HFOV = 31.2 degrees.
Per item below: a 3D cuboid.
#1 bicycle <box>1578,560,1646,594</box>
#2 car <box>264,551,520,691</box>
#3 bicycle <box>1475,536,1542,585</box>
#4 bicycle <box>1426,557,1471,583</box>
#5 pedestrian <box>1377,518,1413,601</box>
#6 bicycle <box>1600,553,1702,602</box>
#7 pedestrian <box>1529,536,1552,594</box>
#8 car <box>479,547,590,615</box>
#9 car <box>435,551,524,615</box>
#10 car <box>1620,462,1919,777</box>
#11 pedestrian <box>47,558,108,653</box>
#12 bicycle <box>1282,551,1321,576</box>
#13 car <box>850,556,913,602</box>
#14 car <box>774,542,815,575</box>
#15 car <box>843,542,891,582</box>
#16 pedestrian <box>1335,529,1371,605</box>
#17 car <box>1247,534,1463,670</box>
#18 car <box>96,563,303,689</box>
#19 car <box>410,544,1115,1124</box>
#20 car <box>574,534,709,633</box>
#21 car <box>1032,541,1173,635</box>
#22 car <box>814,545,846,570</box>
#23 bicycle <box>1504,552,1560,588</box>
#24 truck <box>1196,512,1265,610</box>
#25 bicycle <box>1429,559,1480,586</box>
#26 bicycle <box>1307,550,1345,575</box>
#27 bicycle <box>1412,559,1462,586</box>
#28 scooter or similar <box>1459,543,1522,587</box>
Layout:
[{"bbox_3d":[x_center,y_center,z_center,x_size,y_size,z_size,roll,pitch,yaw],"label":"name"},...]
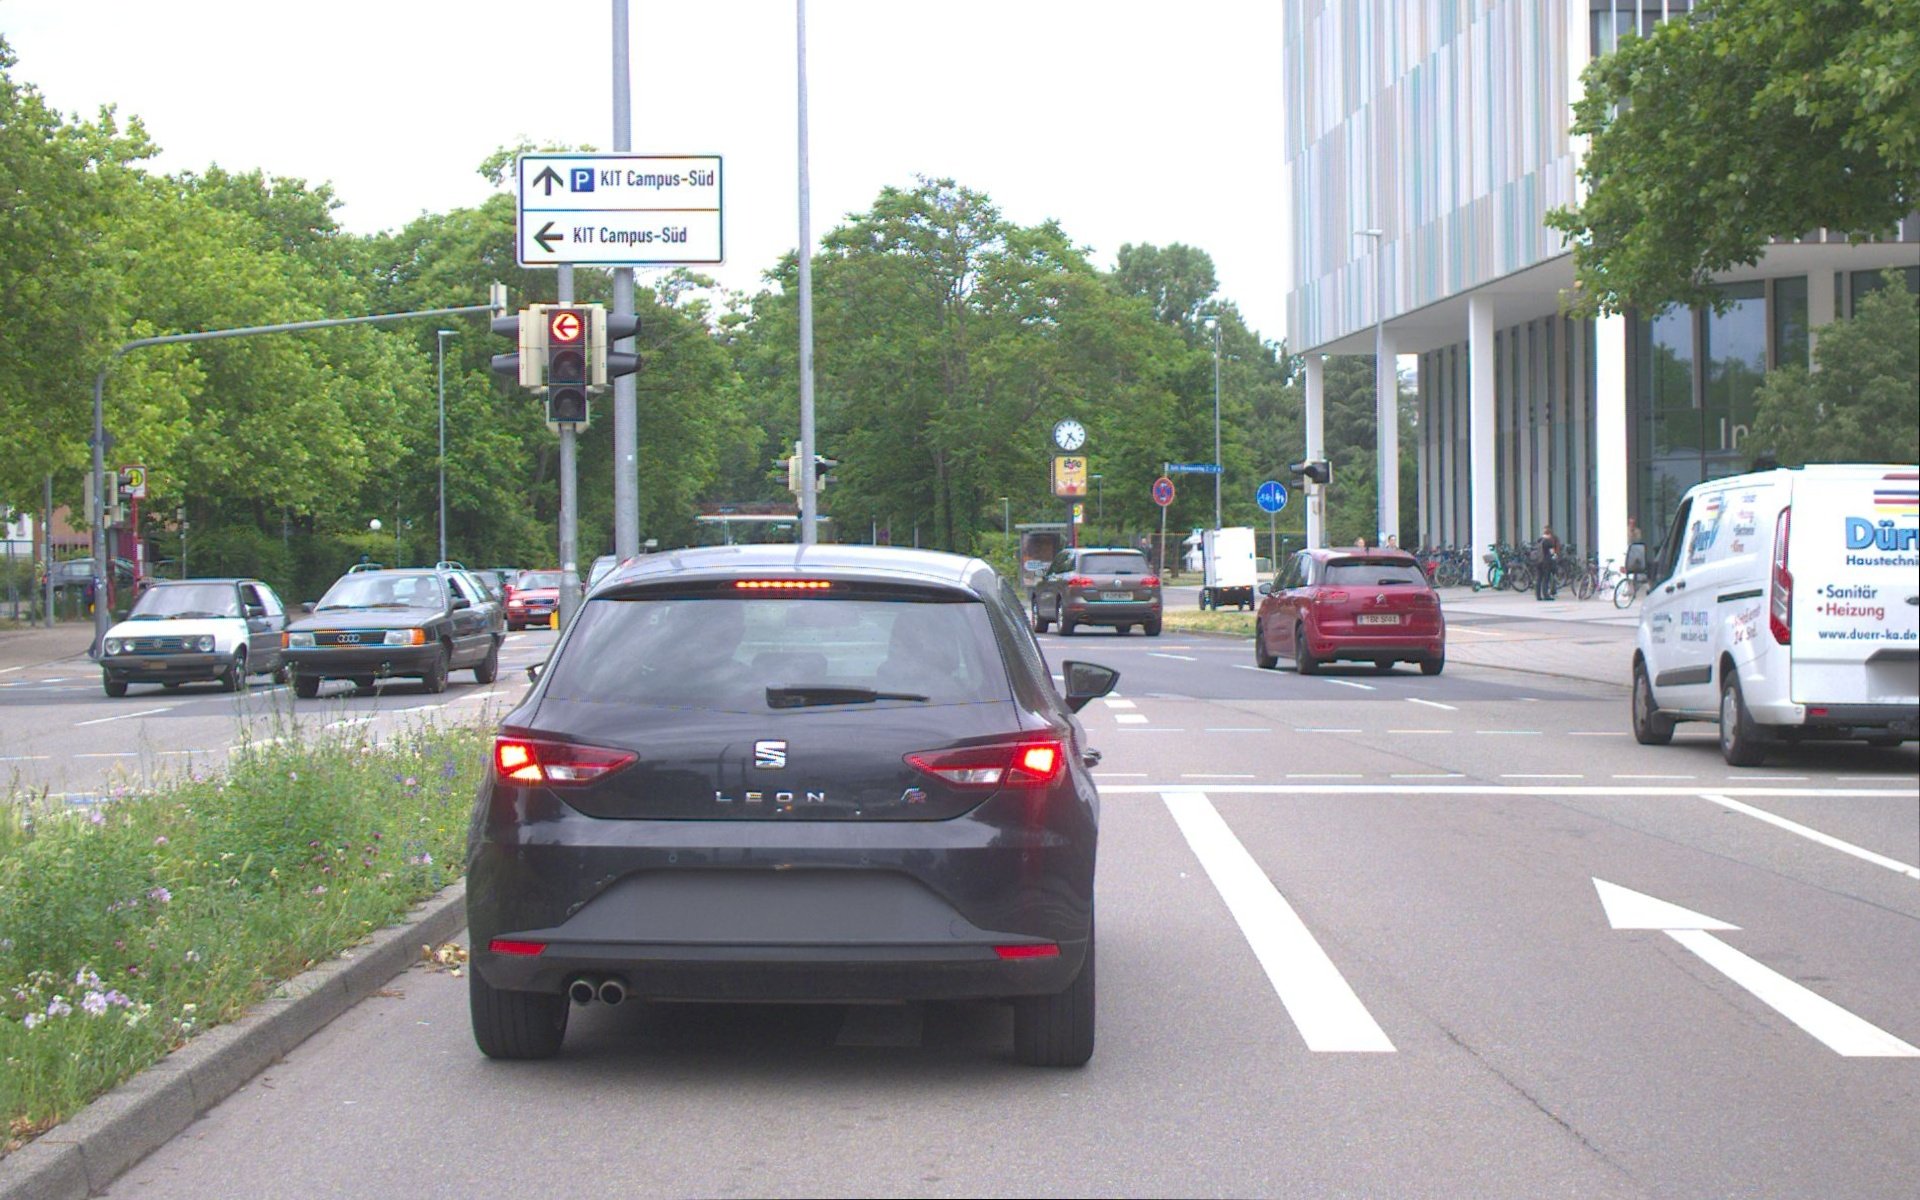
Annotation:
[{"bbox_3d":[15.568,-0.548,82.089,1.479,0.746,0.566,-2,1,-2],"label":"bicycle"},{"bbox_3d":[-6.508,0.212,39.907,1.764,1.455,4.791,-3,0,5],"label":"car"},{"bbox_3d":[14.398,-1.046,90.159,1.772,1.207,0.570,-3,1,-33],"label":"bicycle"},{"bbox_3d":[14.200,-0.870,100.001,1.273,0.703,0.485,-2,1,8],"label":"bicycle"},{"bbox_3d":[9.392,-0.872,74.218,0.687,1.775,0.677,0,1,1],"label":"pedestrian"},{"bbox_3d":[13.801,-0.448,68.636,1.886,0.895,0.697,-3,1,-20],"label":"bicycle"},{"bbox_3d":[13.700,-0.831,81.157,0.472,1.357,0.445,-2,1,11],"label":"pedestrian"},{"bbox_3d":[-9.535,-0.444,77.325,1.714,1.413,4.294,-2,1,3],"label":"car"},{"bbox_3d":[-13.954,-0.516,100.027,1.906,1.711,4.000,-2,1,1],"label":"car"},{"bbox_3d":[5.999,0.087,23.788,1.966,1.965,4.344,1,1,0],"label":"car"},{"bbox_3d":[-15.151,0.085,59.021,0.874,1.581,0.543,-2,1,-6],"label":"pedestrian"},{"bbox_3d":[12.060,-1.300,121.432,1.258,0.845,0.482,2,0,-21],"label":"bicycle"},{"bbox_3d":[-2.548,-0.696,111.229,1.898,1.349,3.883,-2,1,-3],"label":"car"},{"bbox_3d":[-7.846,-1.980,162.901,1.695,1.498,4.010,-2,1,-6],"label":"car"},{"bbox_3d":[-3.430,-1.416,126.228,1.615,1.349,4.001,-2,1,-3],"label":"car"},{"bbox_3d":[8.479,-0.715,74.224,0.687,1.634,0.633,1,1,1],"label":"pedestrian"},{"bbox_3d":[5.006,-0.009,44.052,1.949,1.618,3.750,1,2,-6],"label":"car"},{"bbox_3d":[-9.302,0.284,42.294,1.608,1.376,3.809,-2,1,1],"label":"car"},{"bbox_3d":[-0.422,0.561,10.607,1.753,1.427,3.769,1,1,3],"label":"car"},{"bbox_3d":[-5.748,-0.312,62.463,1.921,1.659,4.399,-2,1,1],"label":"car"},{"bbox_3d":[2.687,-0.266,65.823,1.914,1.658,4.115,-2,1,-8],"label":"car"},{"bbox_3d":[-6.565,-2.138,173.258,1.505,1.189,3.163,-2,1,-3],"label":"car"},{"bbox_3d":[14.721,-0.769,88.449,1.437,0.855,0.365,-3,1,-26],"label":"bicycle"},{"bbox_3d":[6.395,-0.954,81.605,1.317,2.235,3.402,-2,1,0],"label":"truck"},{"bbox_3d":[13.900,-0.777,96.637,1.374,0.703,0.416,-2,1,4],"label":"bicycle"},{"bbox_3d":[12.713,-1.299,119.415,1.234,0.820,0.482,1,0,-21],"label":"bicycle"},{"bbox_3d":[13.653,-0.782,98.440,1.375,0.703,0.489,-2,1,9],"label":"bicycle"},{"bbox_3d":[13.995,-0.929,90.748,1.671,1.103,0.499,-3,1,-31],"label":"scooter or similar"}]
